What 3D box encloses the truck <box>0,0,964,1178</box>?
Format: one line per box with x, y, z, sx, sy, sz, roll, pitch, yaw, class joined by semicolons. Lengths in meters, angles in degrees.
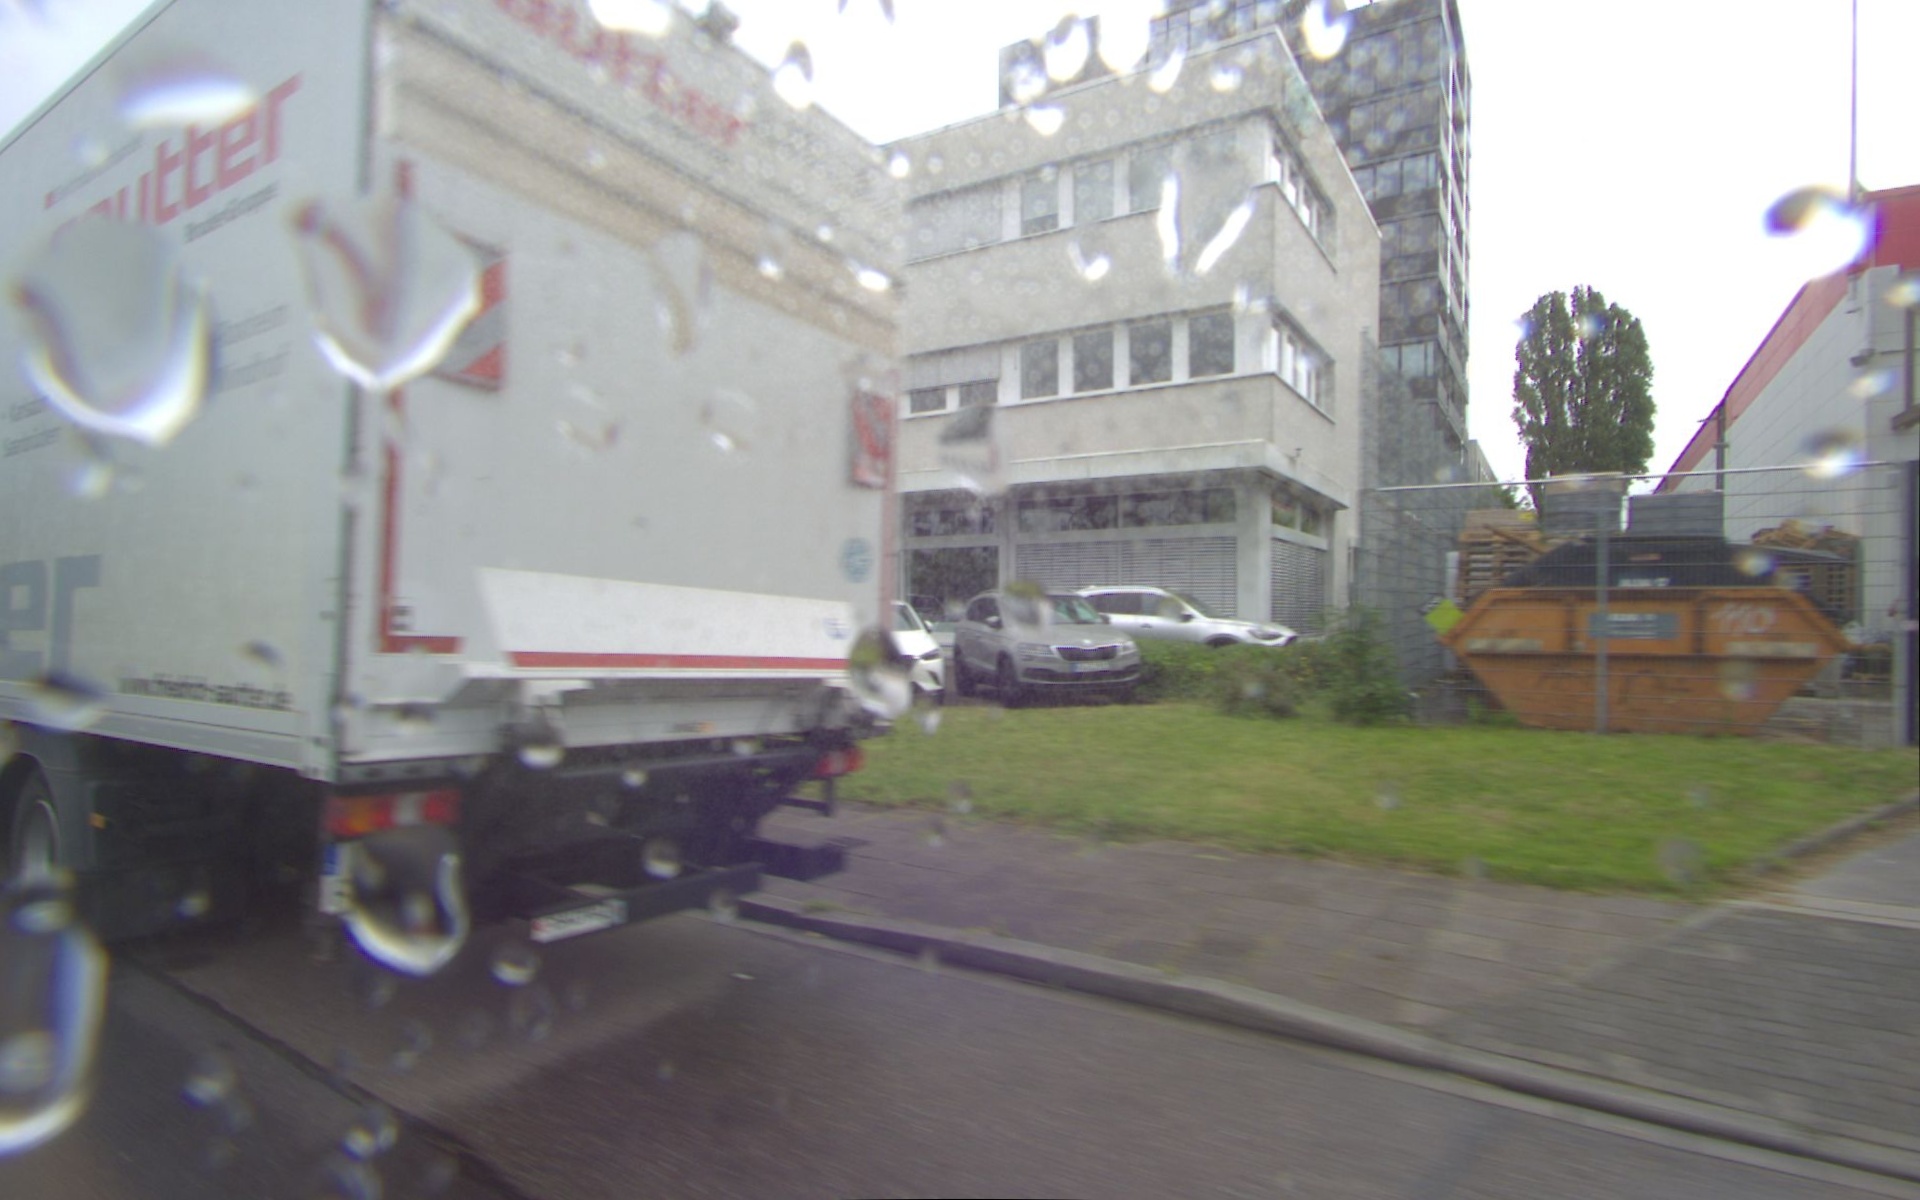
-4.584;-0.368;6.279;9.168;3.837;2.737;0;-3;34;truck

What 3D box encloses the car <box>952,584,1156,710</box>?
1.185;0.597;14.490;1.838;1.547;3.996;0;0;-12;car

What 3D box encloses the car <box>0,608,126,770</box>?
-10.517;0.819;10.297;4.283;1.460;1.793;0;0;33;car

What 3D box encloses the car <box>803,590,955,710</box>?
-1.315;0.639;14.611;1.743;1.489;3.996;0;0;-11;car

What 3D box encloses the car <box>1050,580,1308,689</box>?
3.868;0.561;17.834;4.083;1.728;1.990;0;0;32;car
